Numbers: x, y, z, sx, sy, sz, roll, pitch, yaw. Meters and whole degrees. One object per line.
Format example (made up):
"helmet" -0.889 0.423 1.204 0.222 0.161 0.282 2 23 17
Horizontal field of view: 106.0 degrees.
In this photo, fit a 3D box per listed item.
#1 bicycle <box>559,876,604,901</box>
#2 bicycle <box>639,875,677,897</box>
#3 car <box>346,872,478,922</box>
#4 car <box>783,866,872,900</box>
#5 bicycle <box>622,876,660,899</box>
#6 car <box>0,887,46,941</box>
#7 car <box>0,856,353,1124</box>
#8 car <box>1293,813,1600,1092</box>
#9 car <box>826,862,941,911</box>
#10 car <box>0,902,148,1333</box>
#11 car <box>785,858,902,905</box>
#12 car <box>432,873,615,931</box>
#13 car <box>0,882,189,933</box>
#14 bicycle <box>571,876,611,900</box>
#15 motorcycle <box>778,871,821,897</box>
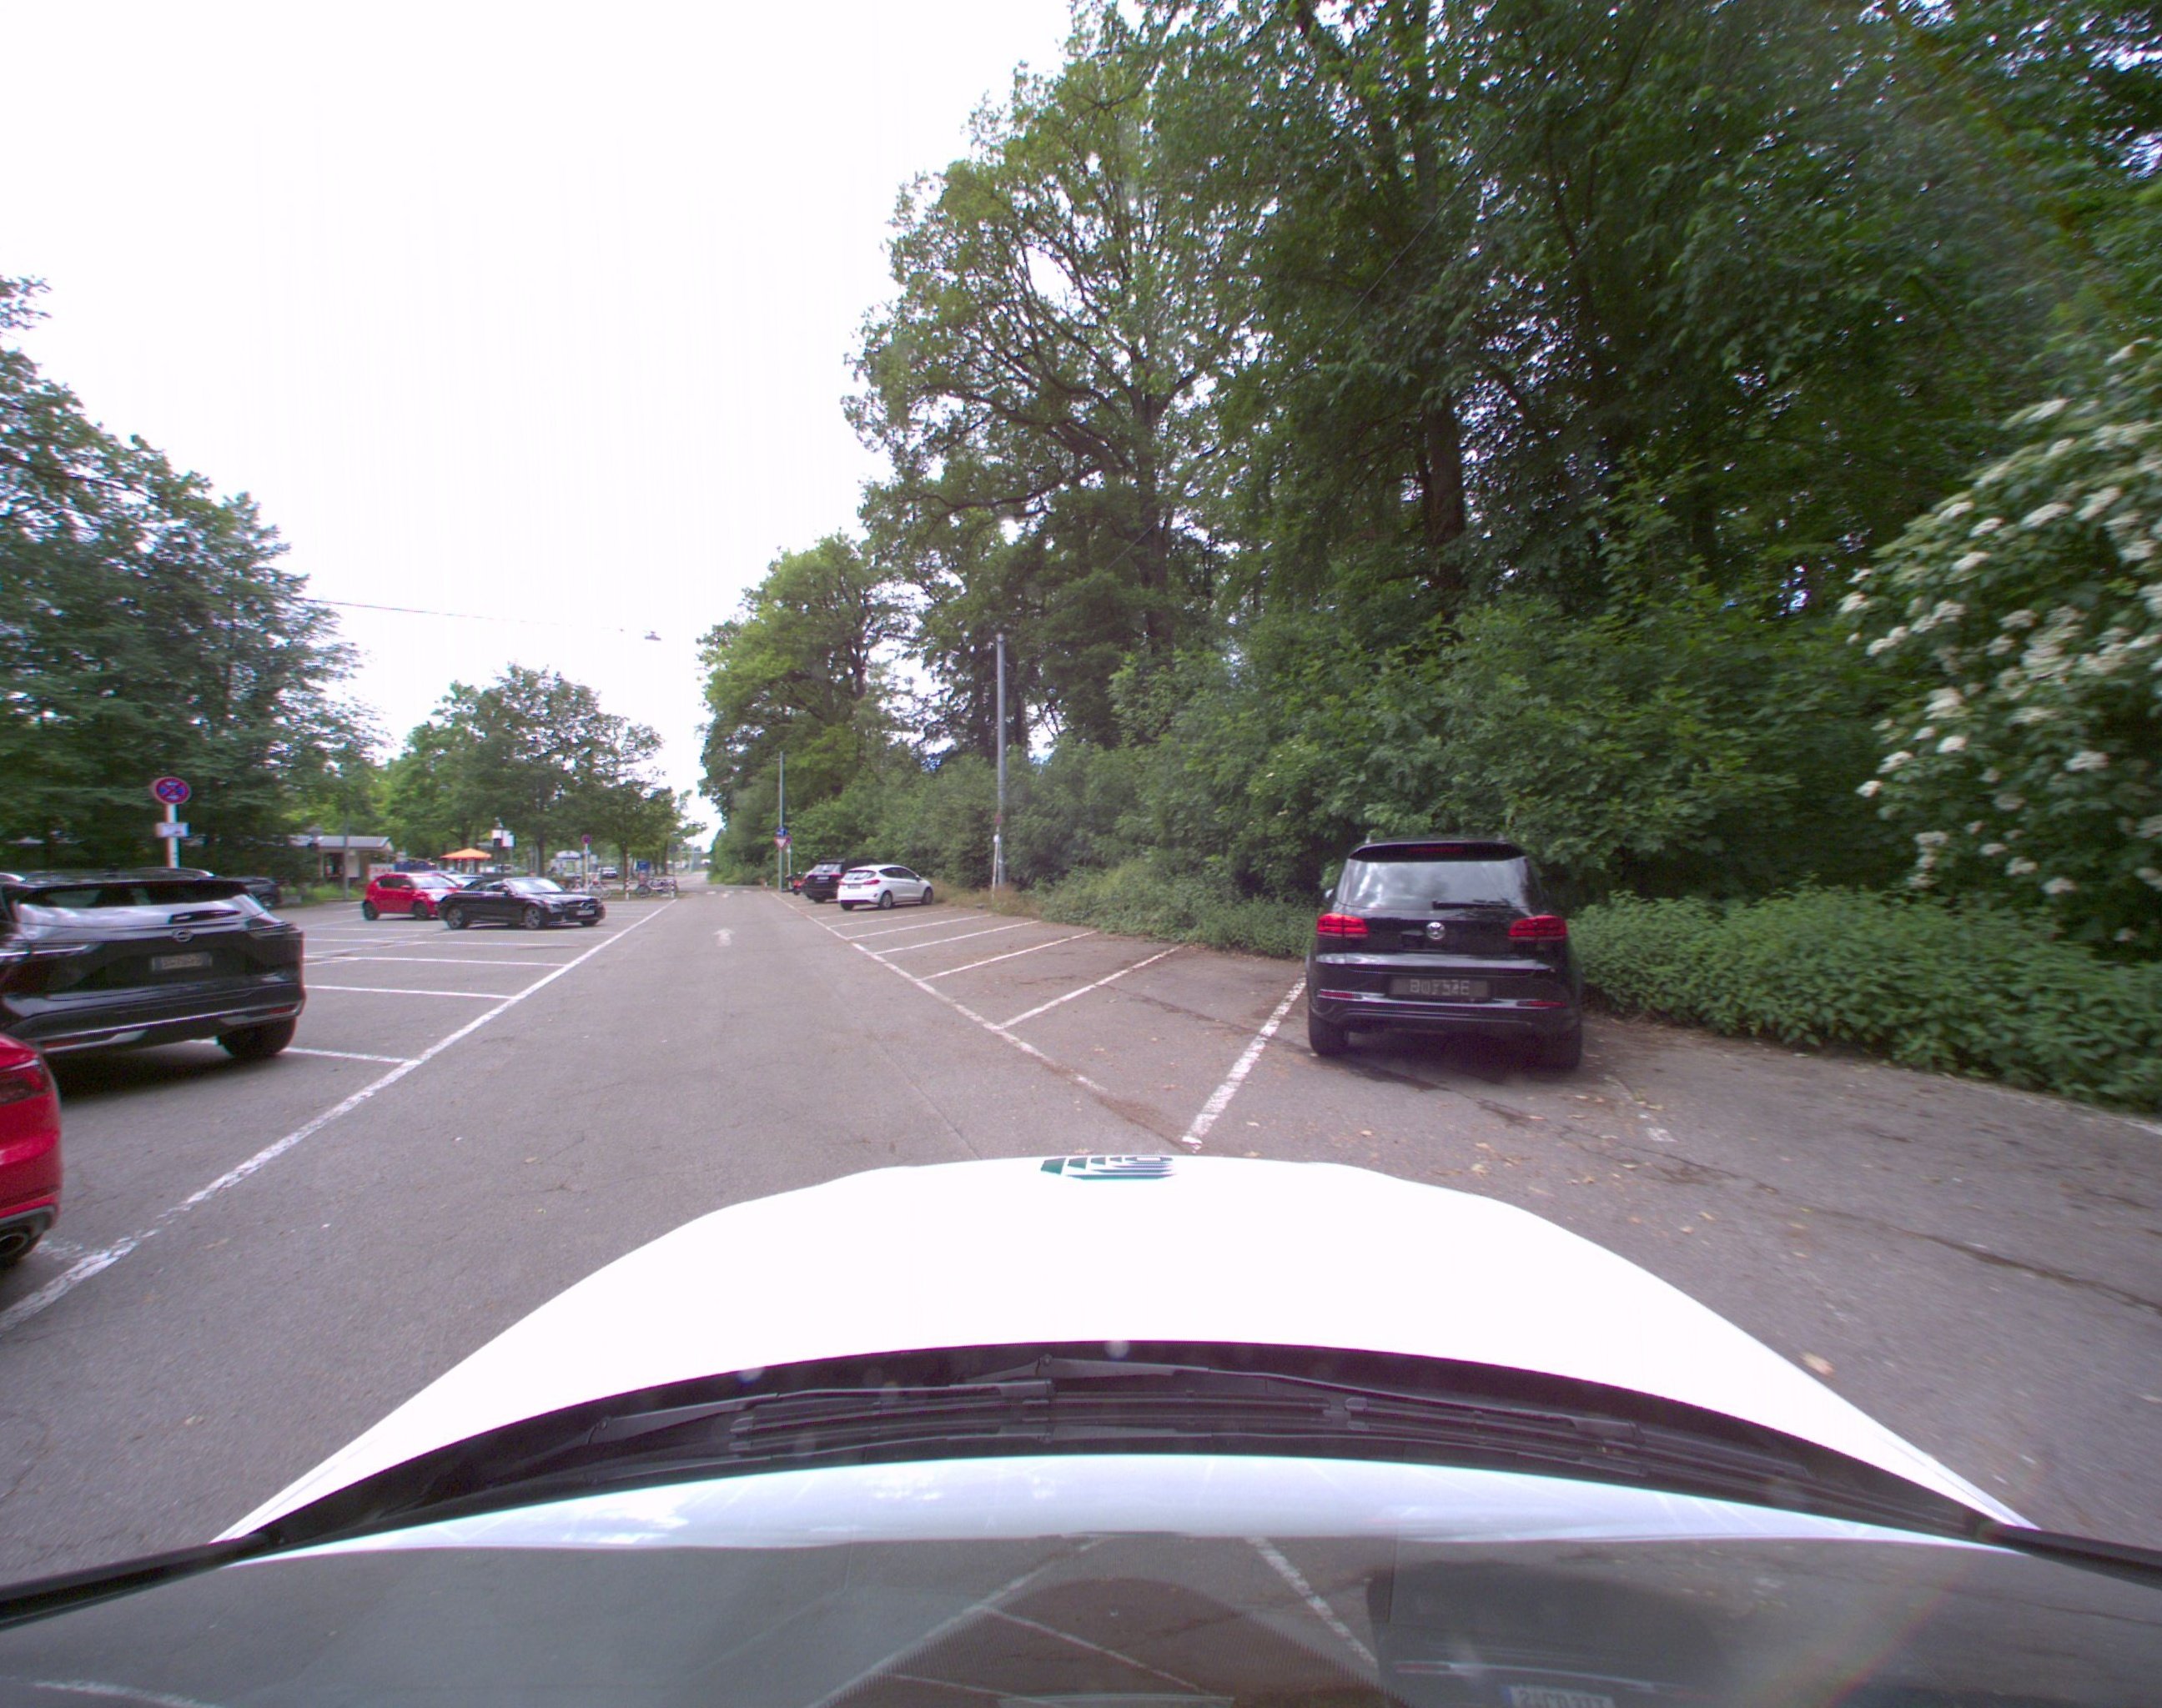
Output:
"bicycle" -24.291 1.669 39.633 1.790 1.111 0.479 -1 -1 -22
"bicycle" -22.492 1.684 43.321 1.695 1.111 0.480 -1 -1 -17
"car" -22.467 1.429 27.371 3.613 1.585 1.694 -1 -1 17
"car" -11.496 1.287 37.169 1.719 1.376 4.021 -1 0 21
"bicycle" -22.748 1.735 42.125 1.684 1.111 0.503 -1 -1 -19
"car" -30.392 1.659 20.959 1.904 1.414 4.321 -2 0 25
"car" -8.345 0.901 6.593 3.954 1.663 1.908 -2 -1 18
"car" 3.069 0.611 7.148 1.763 1.685 4.093 -2 -1 22
"car" -6.704 1.072 28.058 1.847 1.510 4.021 -2 -1 21
"car" -5.785 0.919 2.923 4.340 1.394 1.778 -1 -1 20
"car" -9.552 1.083 33.213 2.087 1.767 4.733 -2 -1 21
"car" -15.216 1.300 22.273 4.268 1.442 1.878 -1 -1 17
"car" -33.288 1.727 27.306 1.847 1.438 4.143 -2 0 24
"bicycle" -24.701 1.702 41.072 1.686 1.111 0.479 -1 -1 -22
"motorcycle" -14.120 1.486 40.884 0.721 1.207 2.042 -2 0 31
